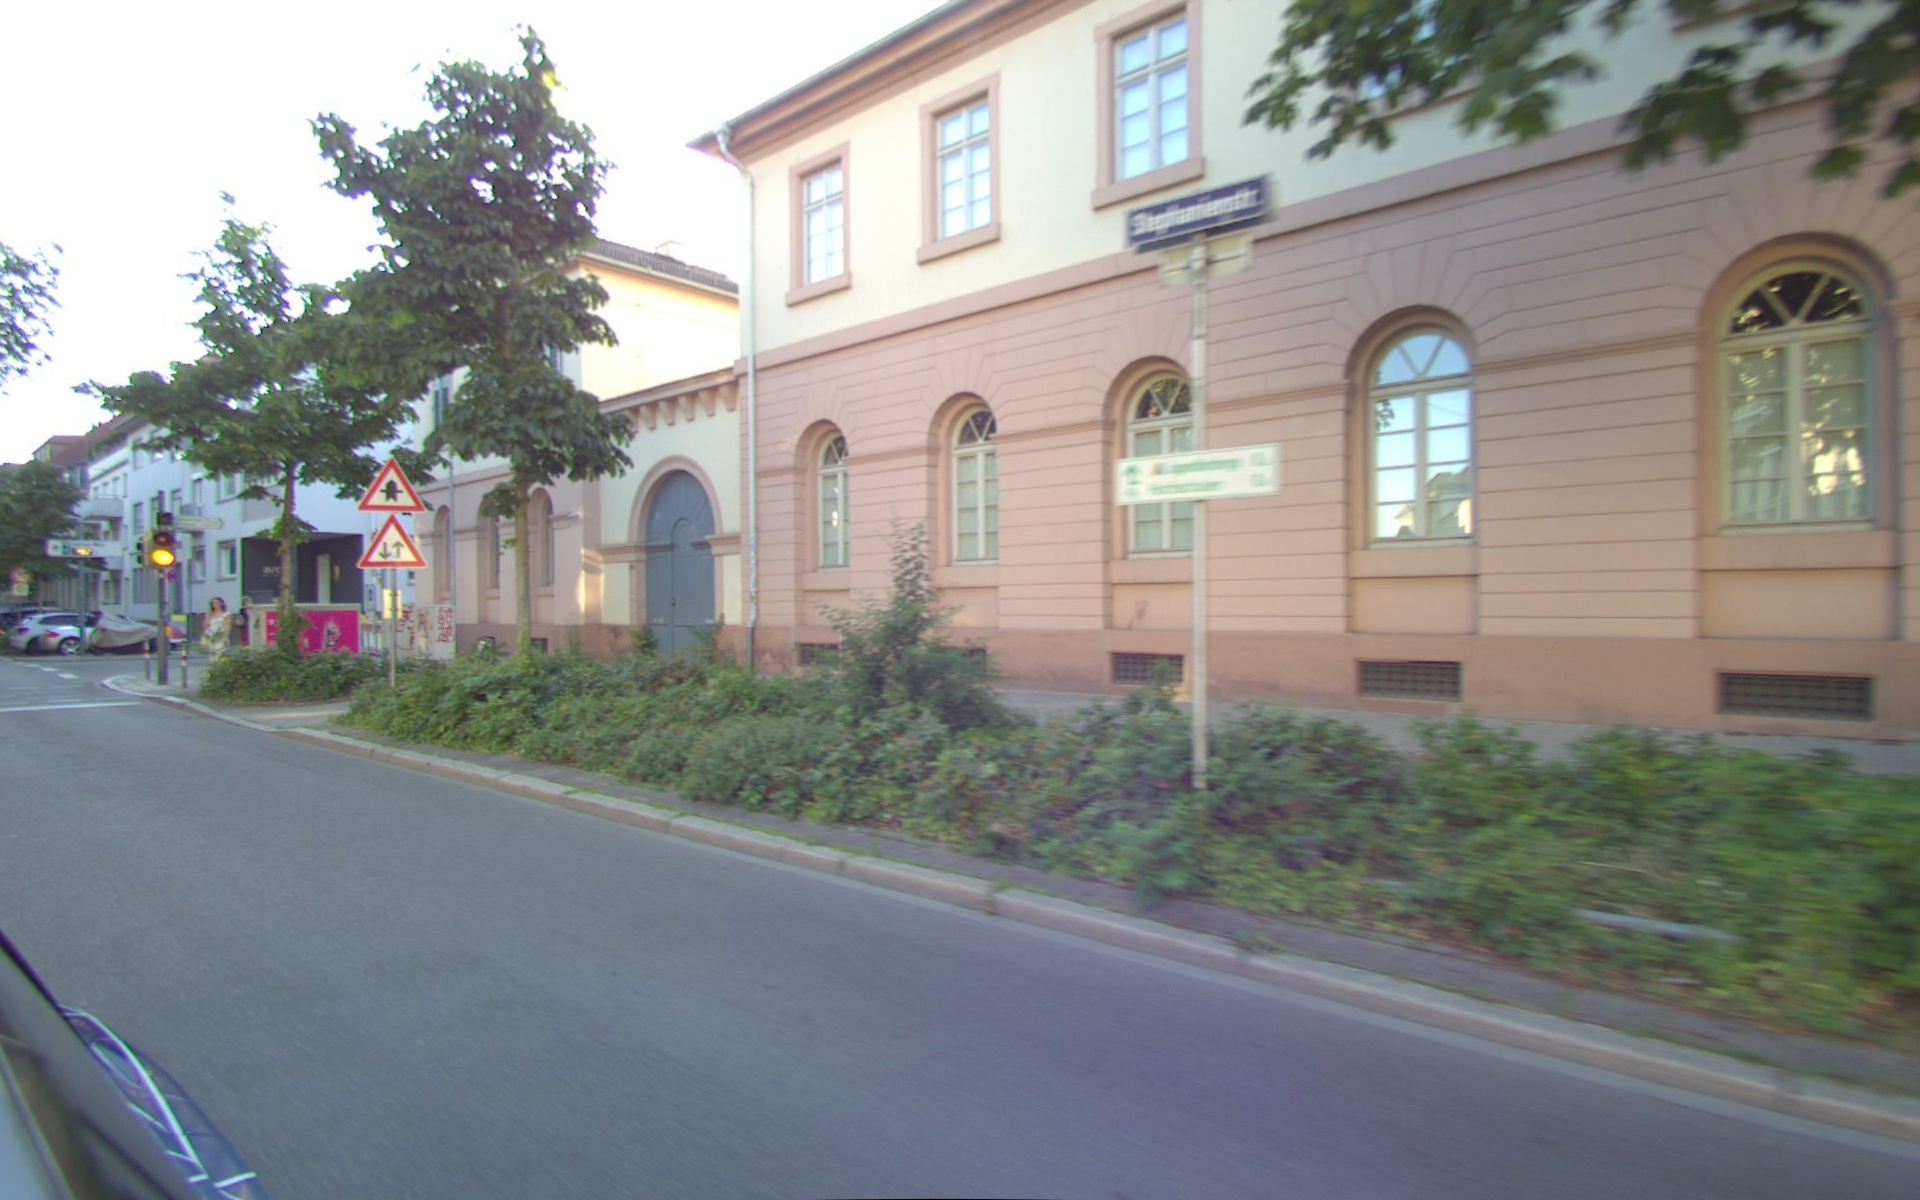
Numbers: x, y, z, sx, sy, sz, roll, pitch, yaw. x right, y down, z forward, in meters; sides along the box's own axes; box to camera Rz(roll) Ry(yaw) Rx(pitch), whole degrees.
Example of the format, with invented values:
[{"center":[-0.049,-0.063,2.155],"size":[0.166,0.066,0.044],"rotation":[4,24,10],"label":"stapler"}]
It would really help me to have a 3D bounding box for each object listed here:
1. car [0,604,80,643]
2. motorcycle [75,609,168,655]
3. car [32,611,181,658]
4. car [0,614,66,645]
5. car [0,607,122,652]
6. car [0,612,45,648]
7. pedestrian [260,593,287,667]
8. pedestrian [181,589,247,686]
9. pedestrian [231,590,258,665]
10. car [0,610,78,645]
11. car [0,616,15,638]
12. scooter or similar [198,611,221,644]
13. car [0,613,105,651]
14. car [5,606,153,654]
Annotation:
[{"center":[-46.070,1.143,49.238],"size":[2.155,1.778,4.618],"rotation":[-1,0,40],"label":"car"},{"center":[-26.745,0.989,32.333],"size":[2.118,1.430,0.971],"rotation":[0,-1,-28],"label":"motorcycle"},{"center":[-28.879,1.126,34.289],"size":[3.697,1.321,1.845],"rotation":[-3,1,-45],"label":"car"},{"center":[-47.882,1.507,51.162],"size":[1.854,1.462,3.805],"rotation":[-2,0,41],"label":"car"},{"center":[-36.014,1.141,40.115],"size":[1.935,1.644,4.049],"rotation":[-1,0,42],"label":"car"},{"center":[-55.965,1.731,58.010],"size":[2.188,2.006,4.940],"rotation":[-2,-1,40],"label":"car"},{"center":[-17.647,0.763,26.016],"size":[0.546,1.864,0.613],"rotation":[0,0,-36],"label":"pedestrian"},{"center":[-14.571,0.717,19.797],"size":[0.779,1.804,0.773],"rotation":[-3,1,-22],"label":"pedestrian"},{"center":[-18.144,0.683,25.656],"size":[0.546,1.864,0.613],"rotation":[0,-1,-34],"label":"pedestrian"},{"center":[-44.262,1.291,47.644],"size":[1.781,1.505,3.984],"rotation":[-1,1,44],"label":"car"},{"center":[-64.727,1.833,65.912],"size":[1.716,1.417,4.383],"rotation":[0,2,37],"label":"car"},{"center":[-29.545,1.062,39.847],"size":[0.509,1.271,1.421],"rotation":[-1,1,-44],"label":"scooter or similar"},{"center":[-39.903,1.378,43.943],"size":[1.755,1.451,4.032],"rotation":[-1,1,42],"label":"car"},{"center":[-31.150,1.013,35.865],"size":[1.734,1.469,3.704],"rotation":[-1,1,40],"label":"car"}]
